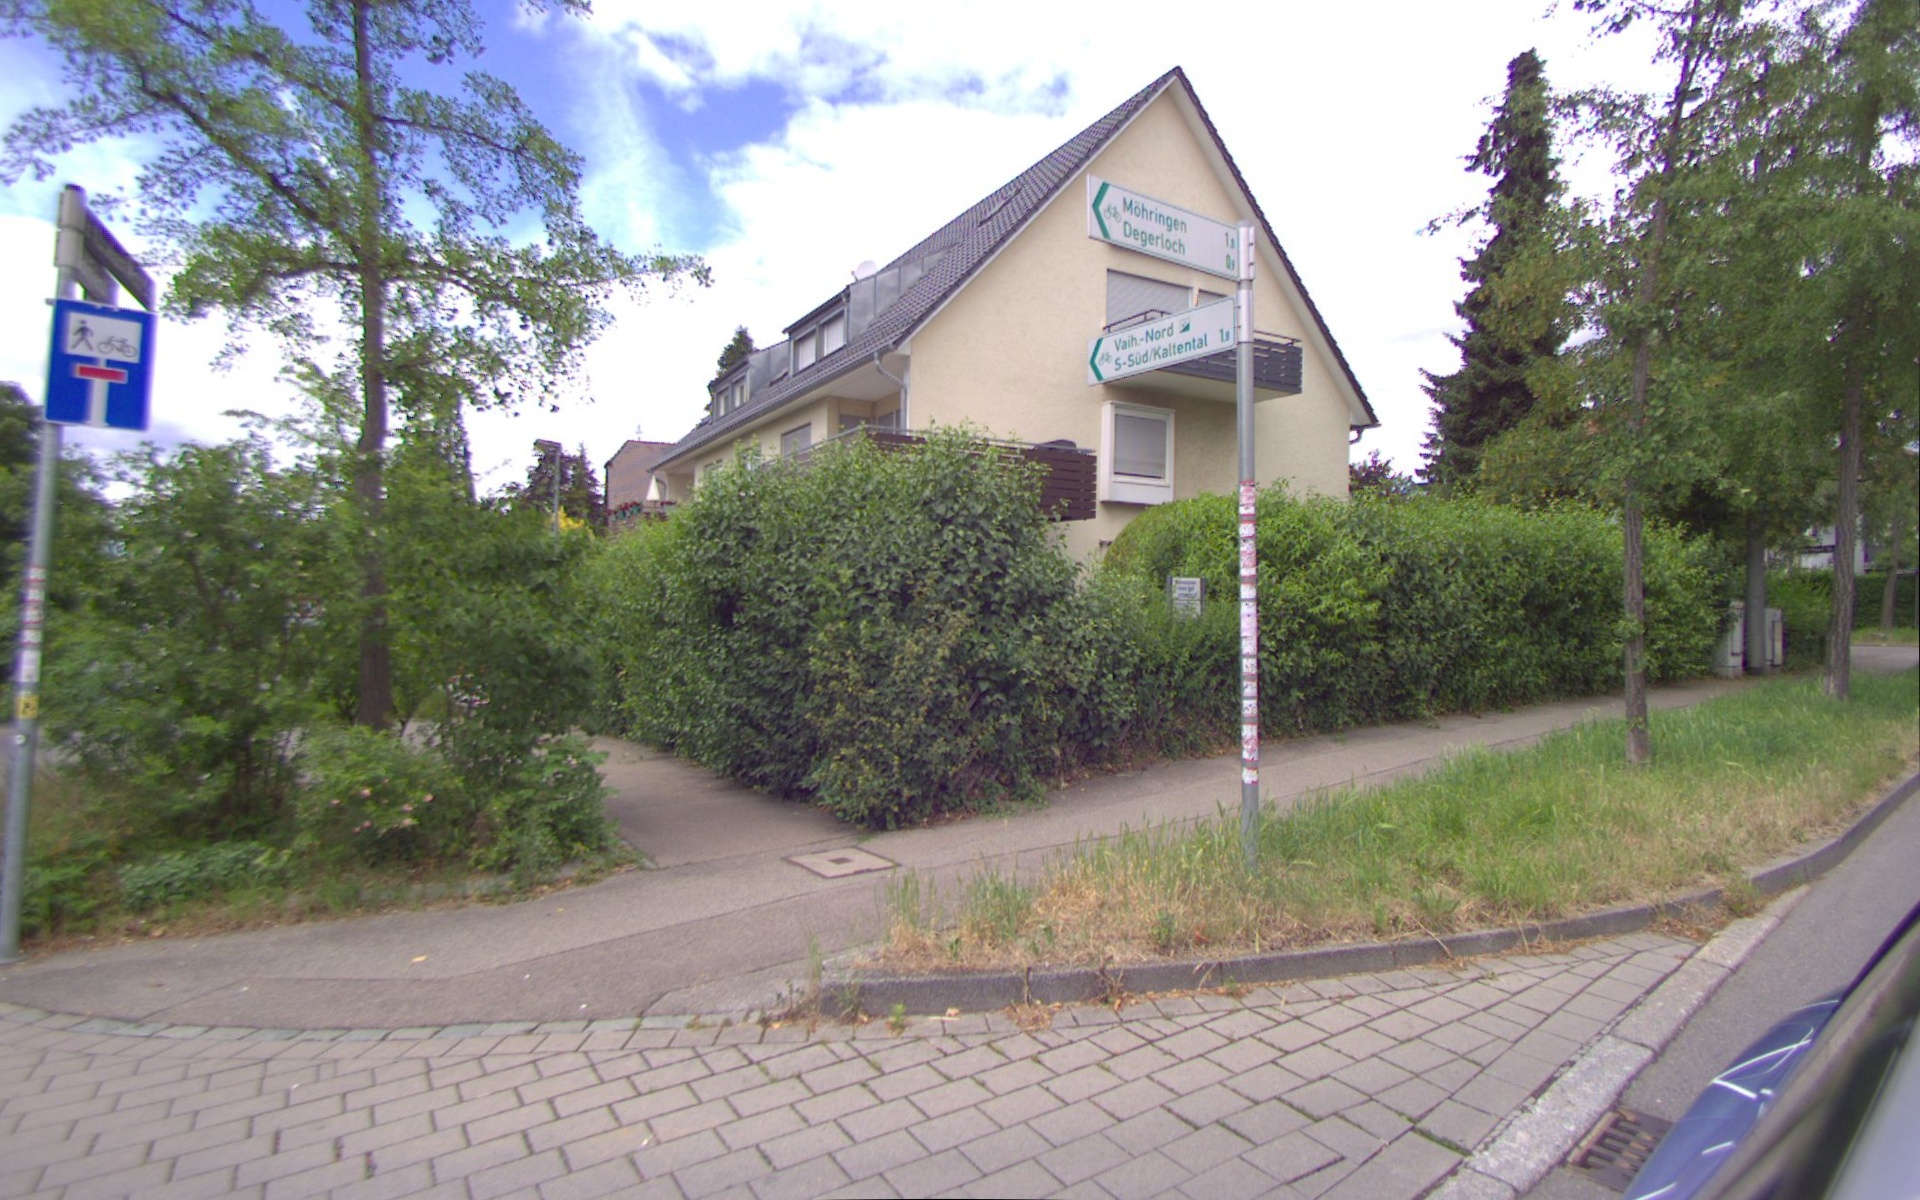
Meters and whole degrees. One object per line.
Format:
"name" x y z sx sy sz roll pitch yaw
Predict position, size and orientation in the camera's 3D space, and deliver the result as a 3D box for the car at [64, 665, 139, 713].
"car" -30.691 3.153 36.278 1.640 1.550 3.759 0 -4 -34
